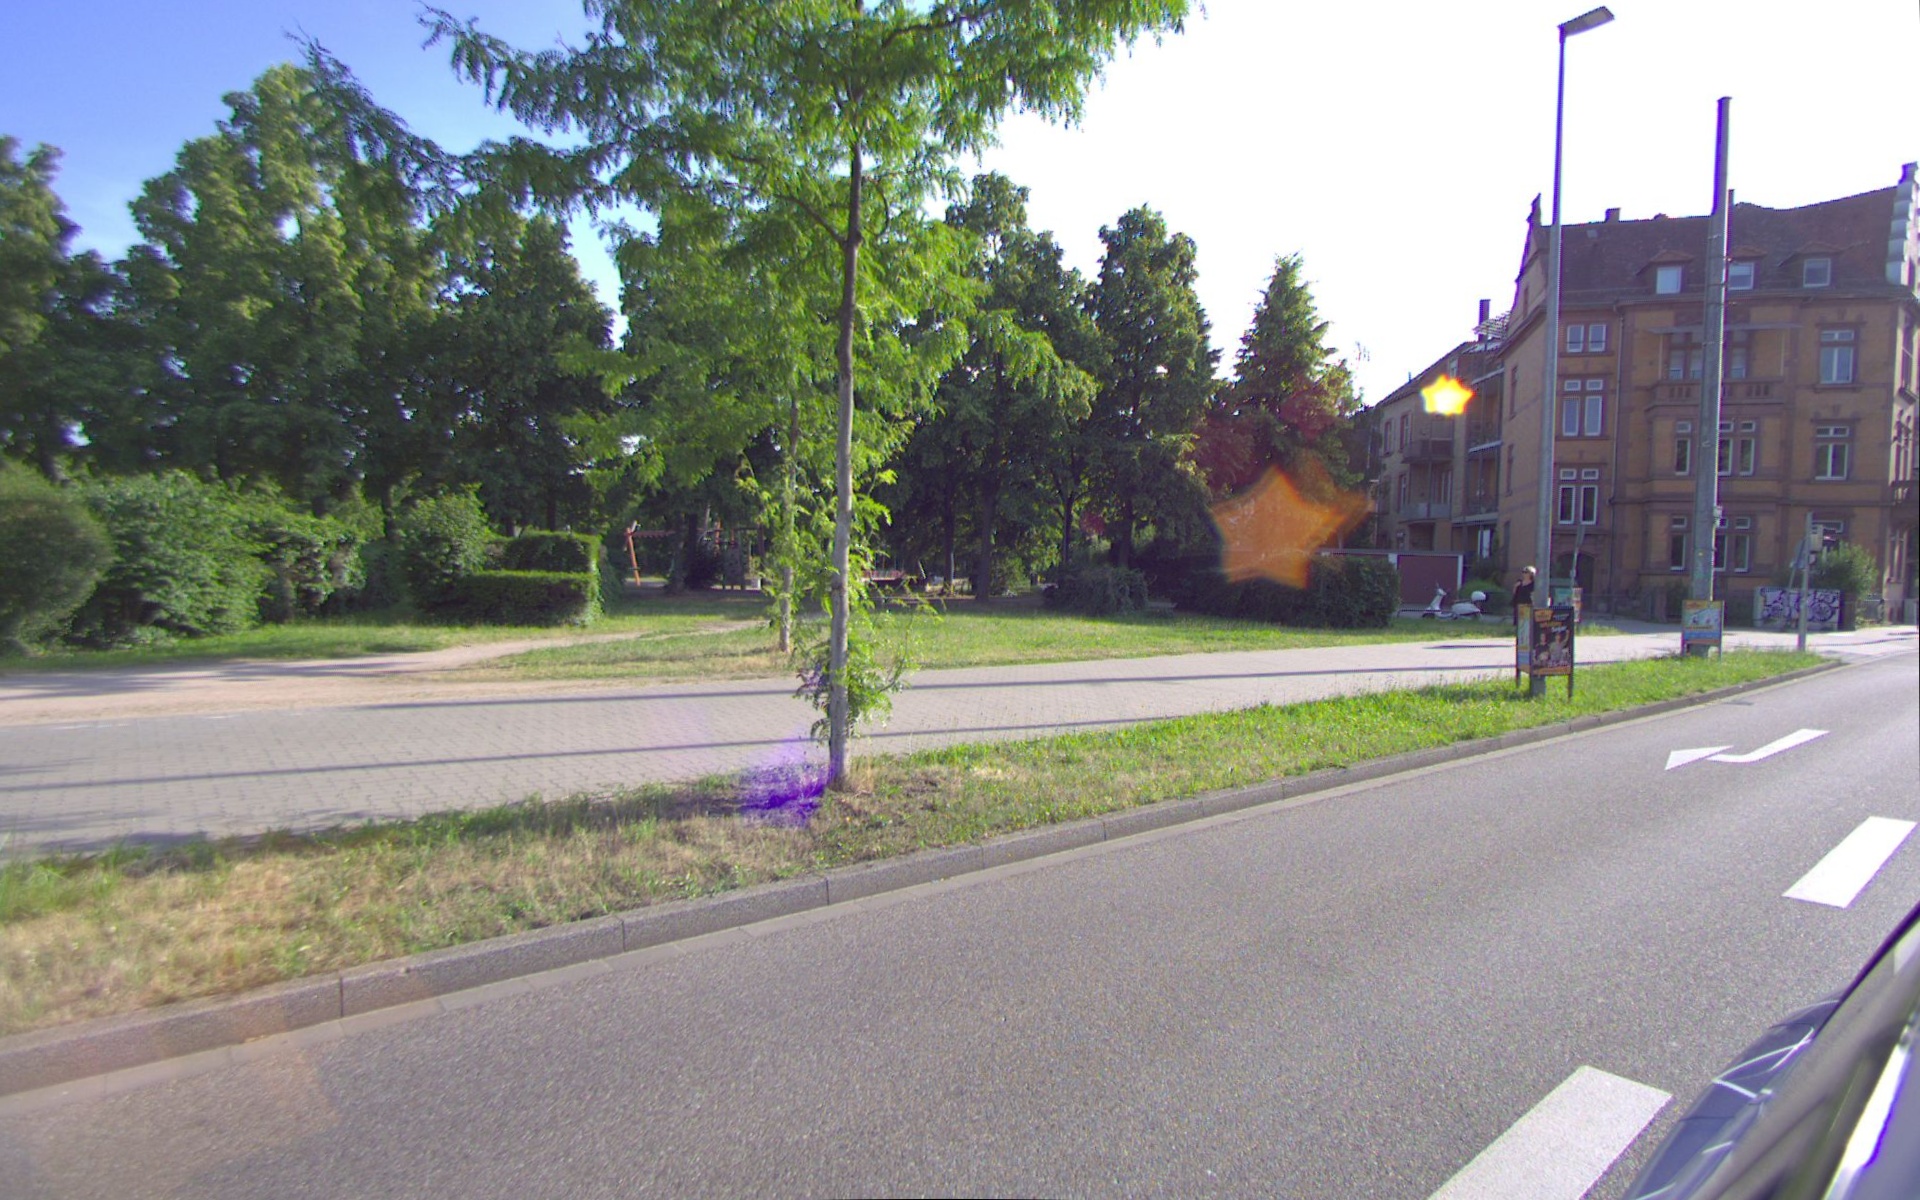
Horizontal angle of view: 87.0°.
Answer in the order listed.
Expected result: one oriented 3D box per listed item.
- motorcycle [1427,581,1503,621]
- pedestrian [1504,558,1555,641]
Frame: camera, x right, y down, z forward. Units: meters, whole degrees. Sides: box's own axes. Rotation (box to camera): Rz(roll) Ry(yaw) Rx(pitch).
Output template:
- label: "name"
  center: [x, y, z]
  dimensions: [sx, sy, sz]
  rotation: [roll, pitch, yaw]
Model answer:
- label: "motorcycle"
  center: [15.942, 0.020, 31.985]
  dimensions: [1.997, 1.174, 0.696]
  rotation: [2, 1, 45]
- label: "pedestrian"
  center: [12.365, -0.017, 21.970]
  dimensions: [0.538, 1.711, 0.617]
  rotation: [1, 6, -36]
